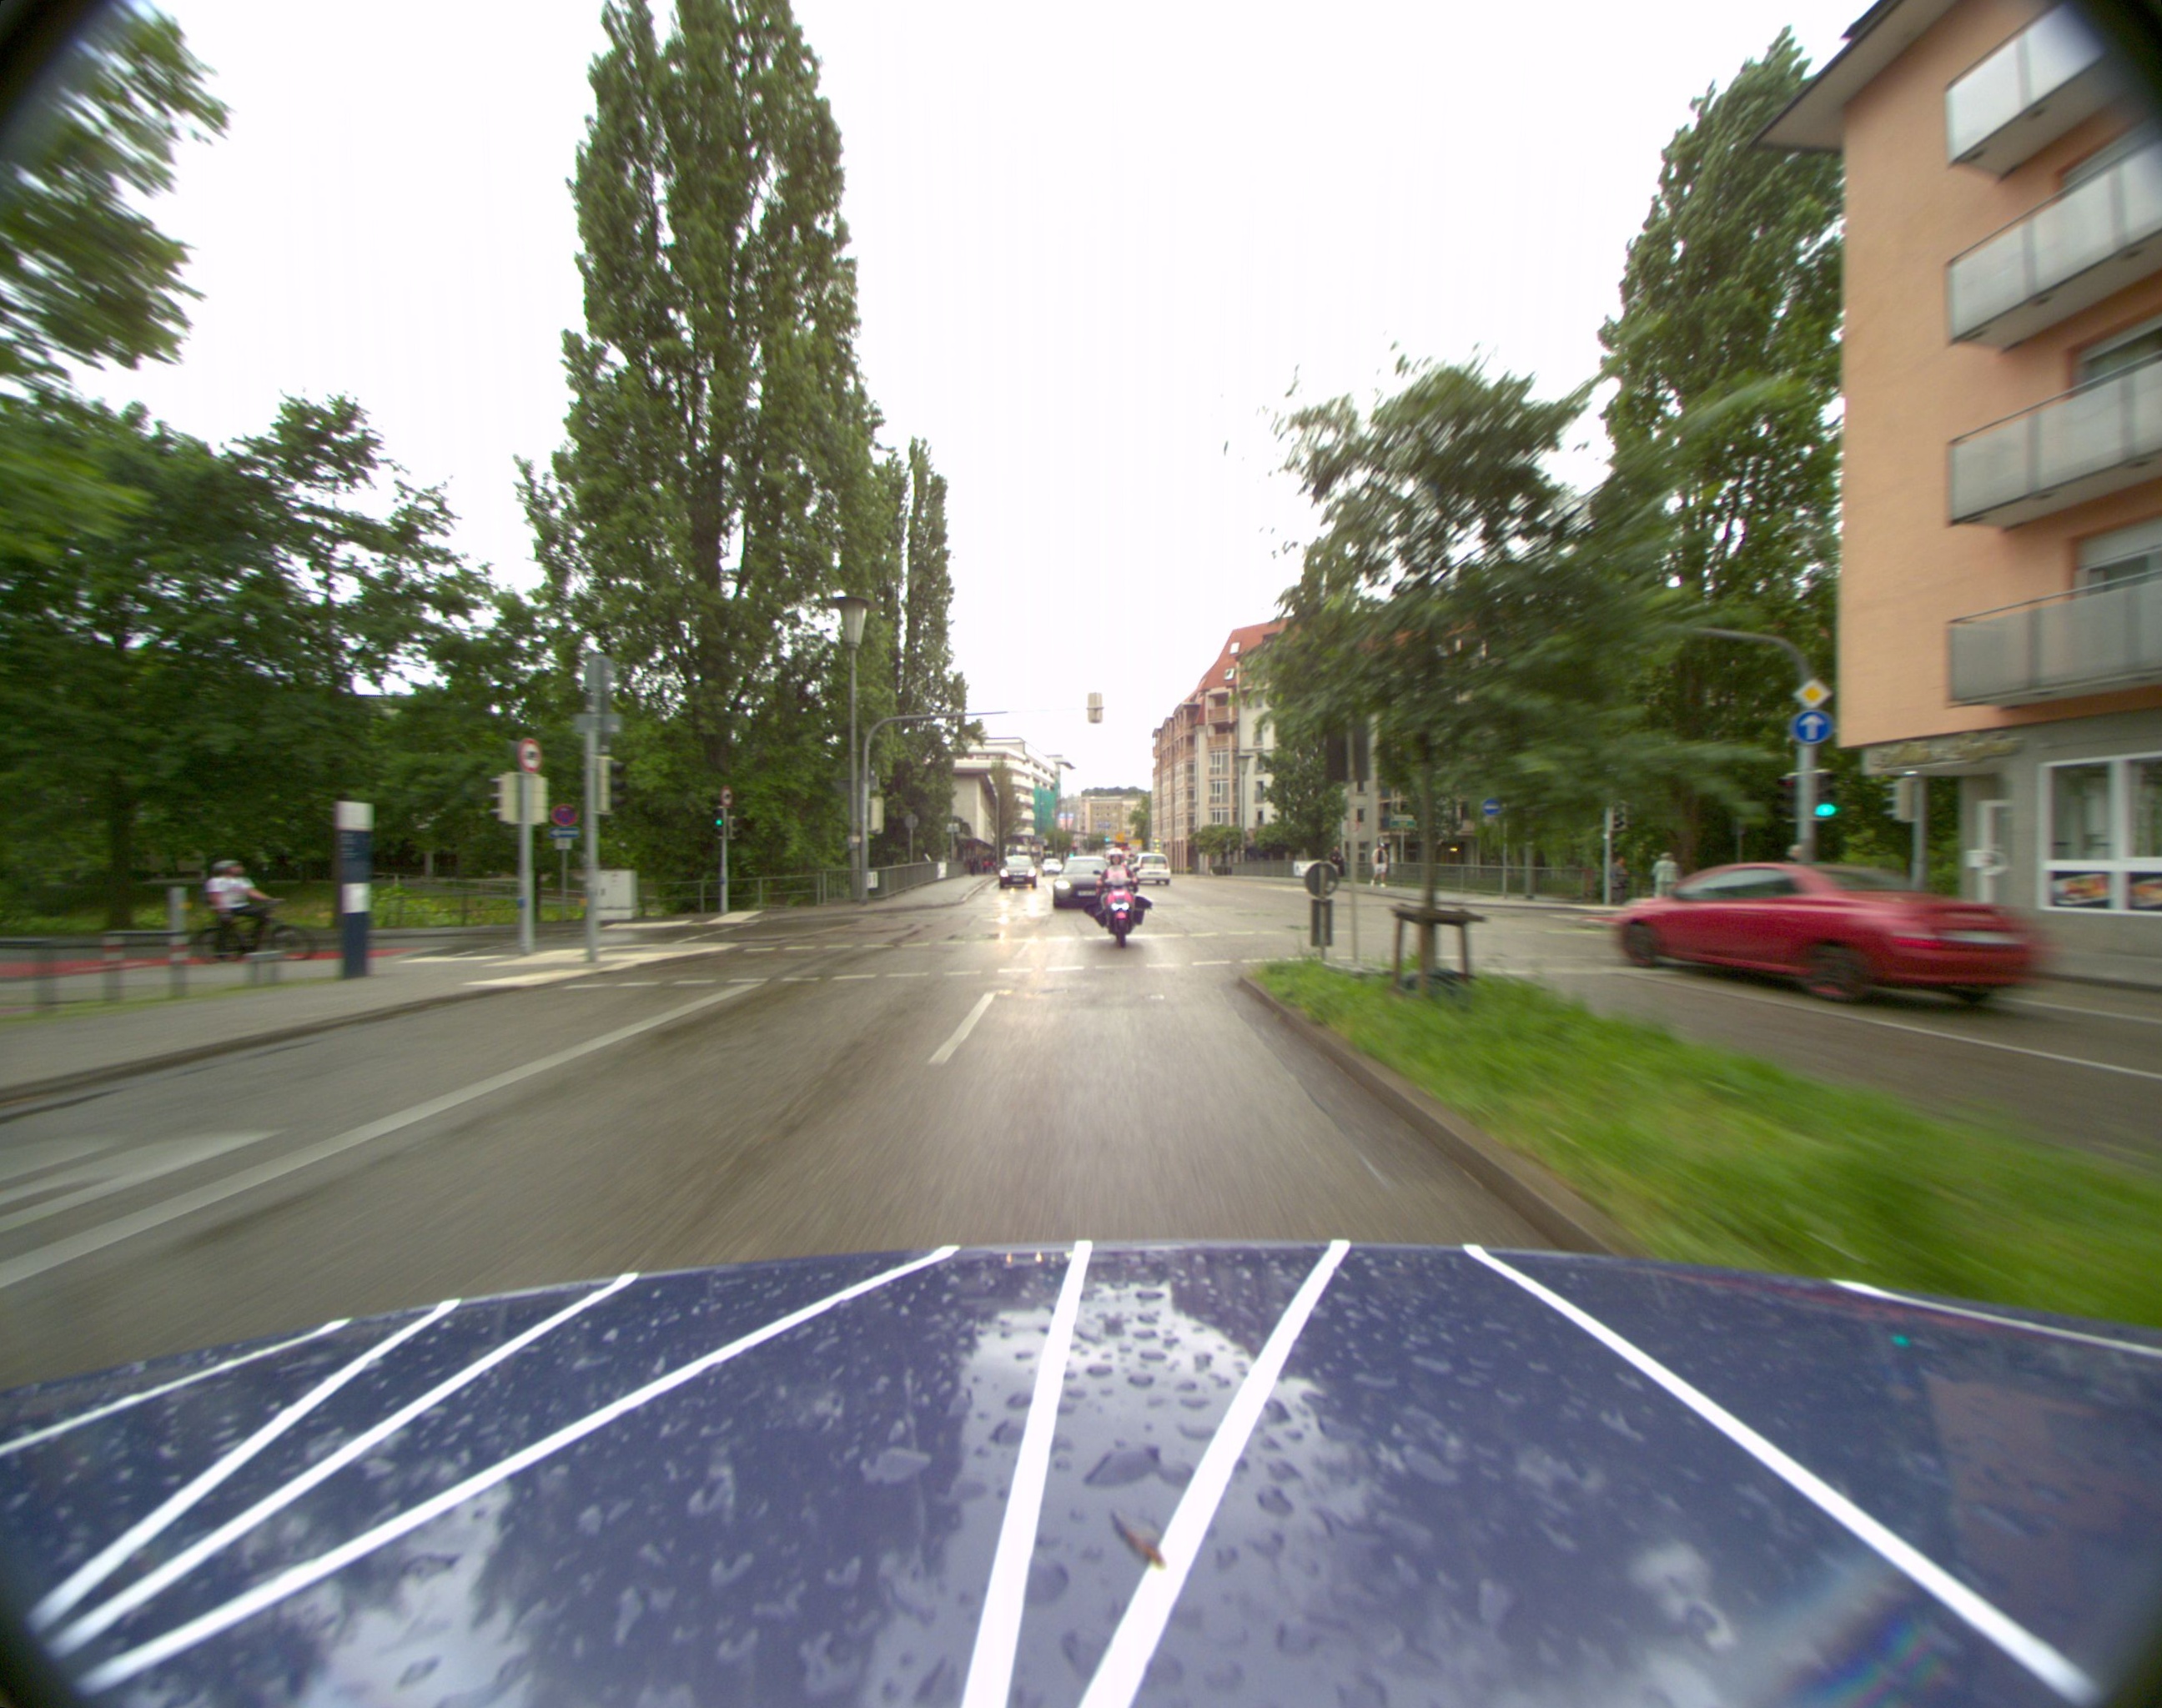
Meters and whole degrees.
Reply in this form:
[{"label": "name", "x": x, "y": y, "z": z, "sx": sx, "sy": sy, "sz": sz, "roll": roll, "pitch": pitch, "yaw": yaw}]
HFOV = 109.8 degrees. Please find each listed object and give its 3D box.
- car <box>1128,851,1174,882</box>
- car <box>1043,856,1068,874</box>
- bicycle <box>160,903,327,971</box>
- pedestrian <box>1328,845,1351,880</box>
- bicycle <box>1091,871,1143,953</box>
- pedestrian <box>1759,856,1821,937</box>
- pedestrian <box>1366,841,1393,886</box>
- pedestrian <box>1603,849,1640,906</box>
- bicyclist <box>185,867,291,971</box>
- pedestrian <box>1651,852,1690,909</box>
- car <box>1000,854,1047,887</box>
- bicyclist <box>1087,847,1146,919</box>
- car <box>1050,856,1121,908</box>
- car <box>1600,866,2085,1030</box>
[{"label": "car", "x": 3.377, "y": 0.570, "z": 37.189, "sx": 1.670, "sy": 1.456, "sz": 3.253, "roll": 0, "pitch": 0, "yaw": -5}, {"label": "car", "x": -2.404, "y": 1.003, "z": 69.466, "sx": 1.898, "sy": 1.566, "sz": 4.358, "roll": 2, "pitch": -1, "yaw": -6}, {"label": "bicycle", "x": -15.071, "y": 1.471, "z": 13.731, "sx": 1.935, "sy": 1.088, "sz": 0.649, "roll": 0, "pitch": 1, "yaw": -19}, {"label": "pedestrian", "x": 12.341, "y": 0.406, "z": 36.269, "sx": 0.767, "sy": 1.685, "sz": 0.799, "roll": 0, "pitch": 1, "yaw": -6}, {"label": "bicycle", "x": 0.594, "y": 0.979, "z": 13.333, "sx": 0.717, "sy": 1.297, "sz": 2.428, "roll": 2, "pitch": -3, "yaw": -1}, {"label": "pedestrian", "x": 13.166, "y": 0.779, "z": 14.123, "sx": 0.561, "sy": 1.433, "sz": 0.608, "roll": -4, "pitch": 0, "yaw": -23}, {"label": "pedestrian", "x": 12.676, "y": 0.385, "z": 32.271, "sx": 0.746, "sy": 1.876, "sz": 0.799, "roll": 0, "pitch": 0, "yaw": -6}, {"label": "pedestrian", "x": 16.276, "y": 0.682, "z": 22.869, "sx": 0.748, "sy": 1.681, "sz": 0.681, "roll": 0, "pitch": 1, "yaw": -35}, {"label": "bicyclist", "x": -15.138, "y": 1.138, "z": 13.677, "sx": 0.988, "sy": 1.760, "sz": 0.795, "roll": -1, "pitch": 1, "yaw": -19}, {"label": "pedestrian", "x": 17.177, "y": 0.754, "z": 22.134, "sx": 0.684, "sy": 1.639, "sz": 0.744, "roll": 0, "pitch": 1, "yaw": -40}, {"label": "car", "x": -2.631, "y": 0.770, "z": 35.658, "sx": 1.897, "sy": 1.391, "sz": 4.361, "roll": 2, "pitch": -1, "yaw": -1}, {"label": "bicyclist", "x": 0.617, "y": 0.509, "z": 13.359, "sx": 0.963, "sy": 1.218, "sz": 0.715, "roll": -1, "pitch": -3, "yaw": -2}, {"label": "car", "x": 0.233, "y": 0.810, "z": 23.862, "sx": 1.896, "sy": 1.396, "sz": 4.362, "roll": -1, "pitch": 0, "yaw": 4}, {"label": "car", "x": 8.209, "y": 0.889, "z": 8.780, "sx": 1.571, "sy": 1.385, "sz": 3.832, "roll": 2, "pitch": 0, "yaw": -4}]
